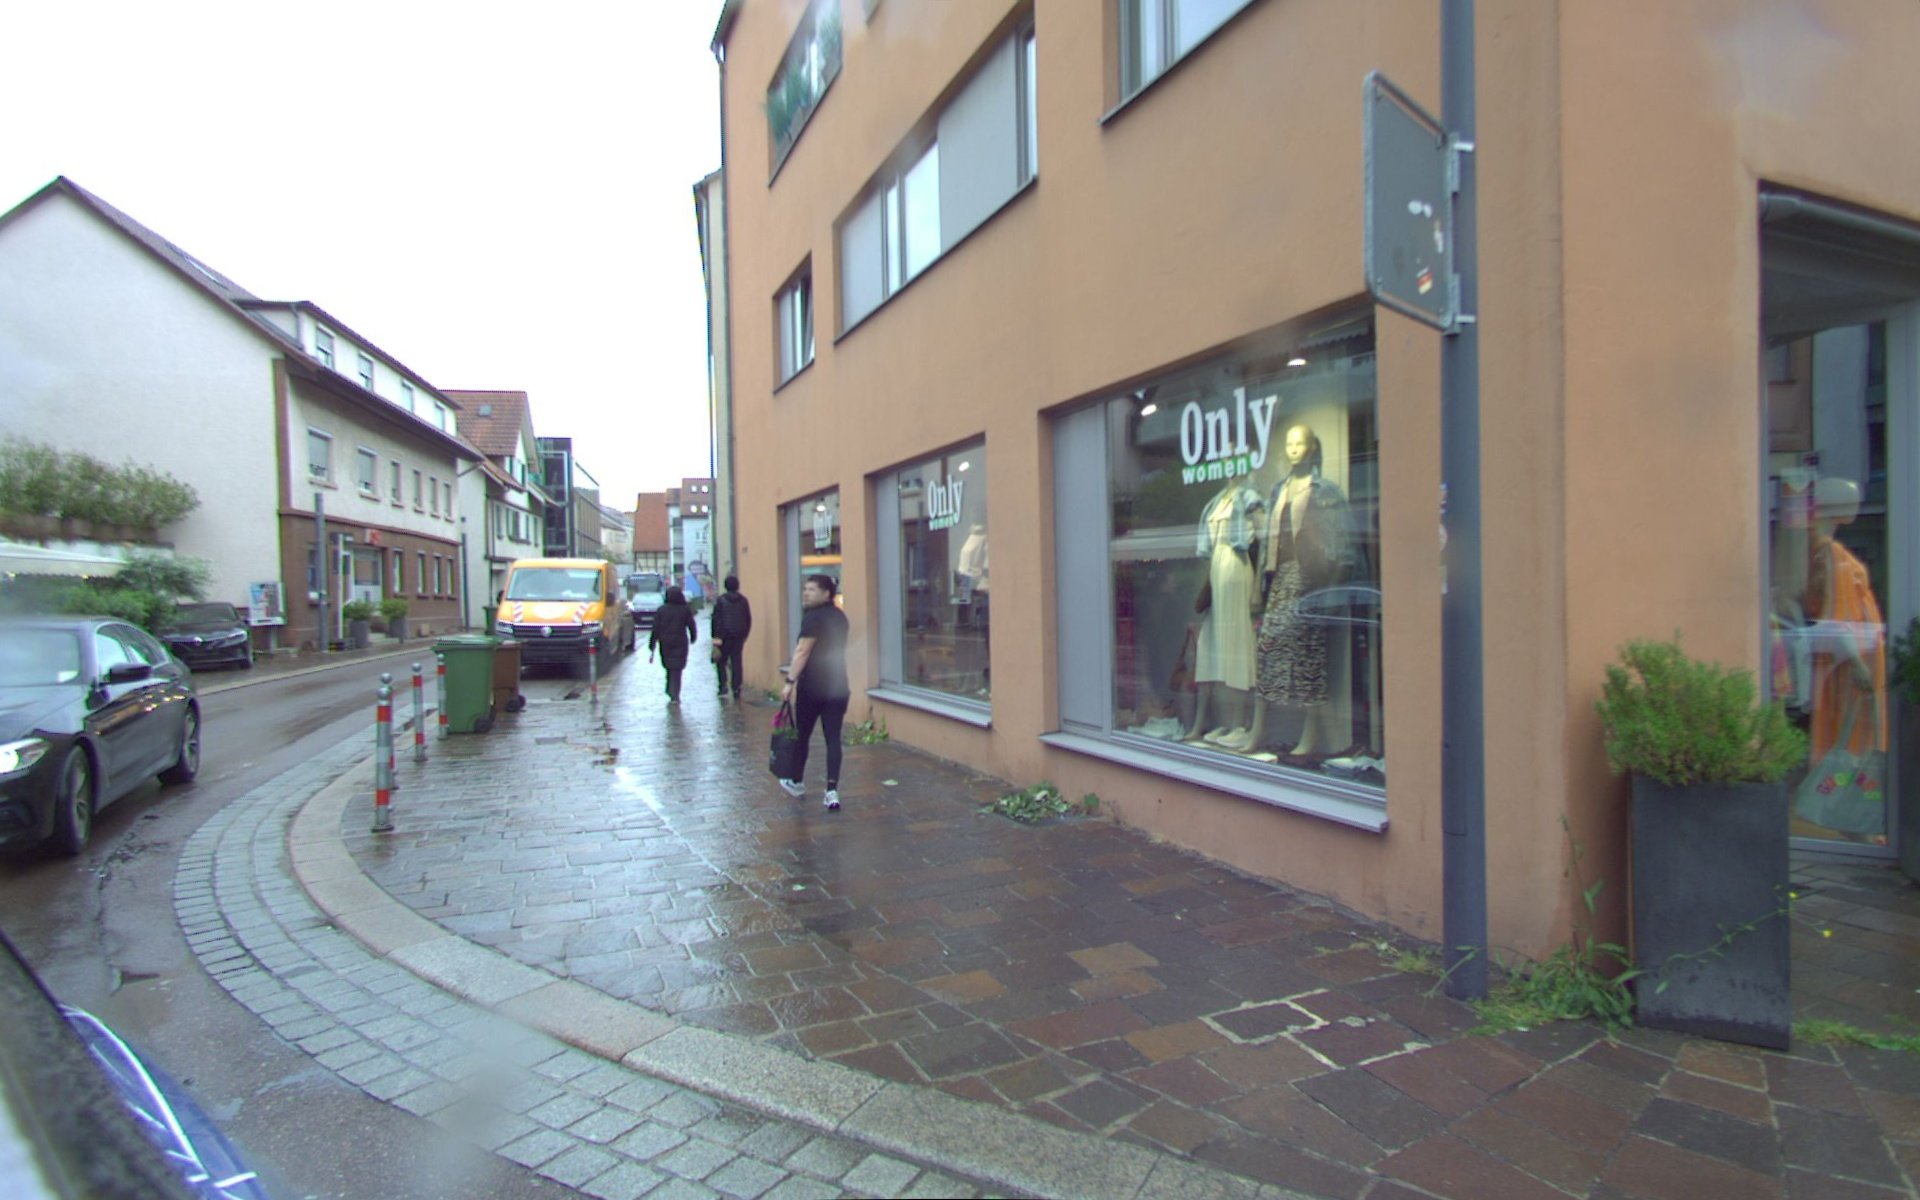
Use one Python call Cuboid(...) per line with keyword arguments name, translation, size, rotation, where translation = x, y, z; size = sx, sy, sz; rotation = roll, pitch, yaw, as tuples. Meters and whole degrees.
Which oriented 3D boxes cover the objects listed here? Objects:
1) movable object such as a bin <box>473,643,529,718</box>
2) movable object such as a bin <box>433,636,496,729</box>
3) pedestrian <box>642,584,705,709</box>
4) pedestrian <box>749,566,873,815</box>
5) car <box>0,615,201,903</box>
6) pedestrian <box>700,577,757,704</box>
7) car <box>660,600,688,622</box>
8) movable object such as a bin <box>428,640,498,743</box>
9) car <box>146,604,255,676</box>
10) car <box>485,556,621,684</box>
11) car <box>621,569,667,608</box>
Cuboid(name="movable object such as a bin", translation=(-6.098, 1.062, 13.458), size=(0.574, 0.934, 0.482), rotation=(-1, 0, -13))
Cuboid(name="movable object such as a bin", translation=(-5.992, 0.980, 12.263), size=(0.647, 1.044, 0.612), rotation=(-1, 0, -23))
Cuboid(name="pedestrian", translation=(-4.024, 0.628, 14.178), size=(0.705, 1.652, 0.748), rotation=(-3, 1, -21))
Cuboid(name="pedestrian", translation=(-1.051, 0.590, 7.066), size=(0.650, 1.622, 0.686), rotation=(-1, 0, -24))
Cuboid(name="car", translation=(-6.711, 0.857, 6.709), size=(1.915, 1.413, 4.434), rotation=(-1, 1, -27))
Cuboid(name="pedestrian", translation=(-3.317, 0.559, 14.464), size=(0.614, 1.725, 0.811), rotation=(-3, 1, -21))
Cuboid(name="car", translation=(-19.175, 0.741, 67.854), size=(1.606, 1.377, 3.498), rotation=(-2, 0, -13))
Cuboid(name="movable object such as a bin", translation=(-5.476, 0.989, 11.174), size=(0.647, 1.044, 0.612), rotation=(-1, 0, -23))
Cuboid(name="car", translation=(-16.121, 0.779, 21.557), size=(1.710, 1.367, 3.946), rotation=(-1, 0, -36))
Cuboid(name="car", translation=(-8.246, 0.334, 21.034), size=(1.966, 2.256, 5.878), rotation=(-1, 0, -16))
Cuboid(name="car", translation=(-25.255, -0.831, 81.153), size=(2.667, 2.895, 8.866), rotation=(-2, 0, -12))
